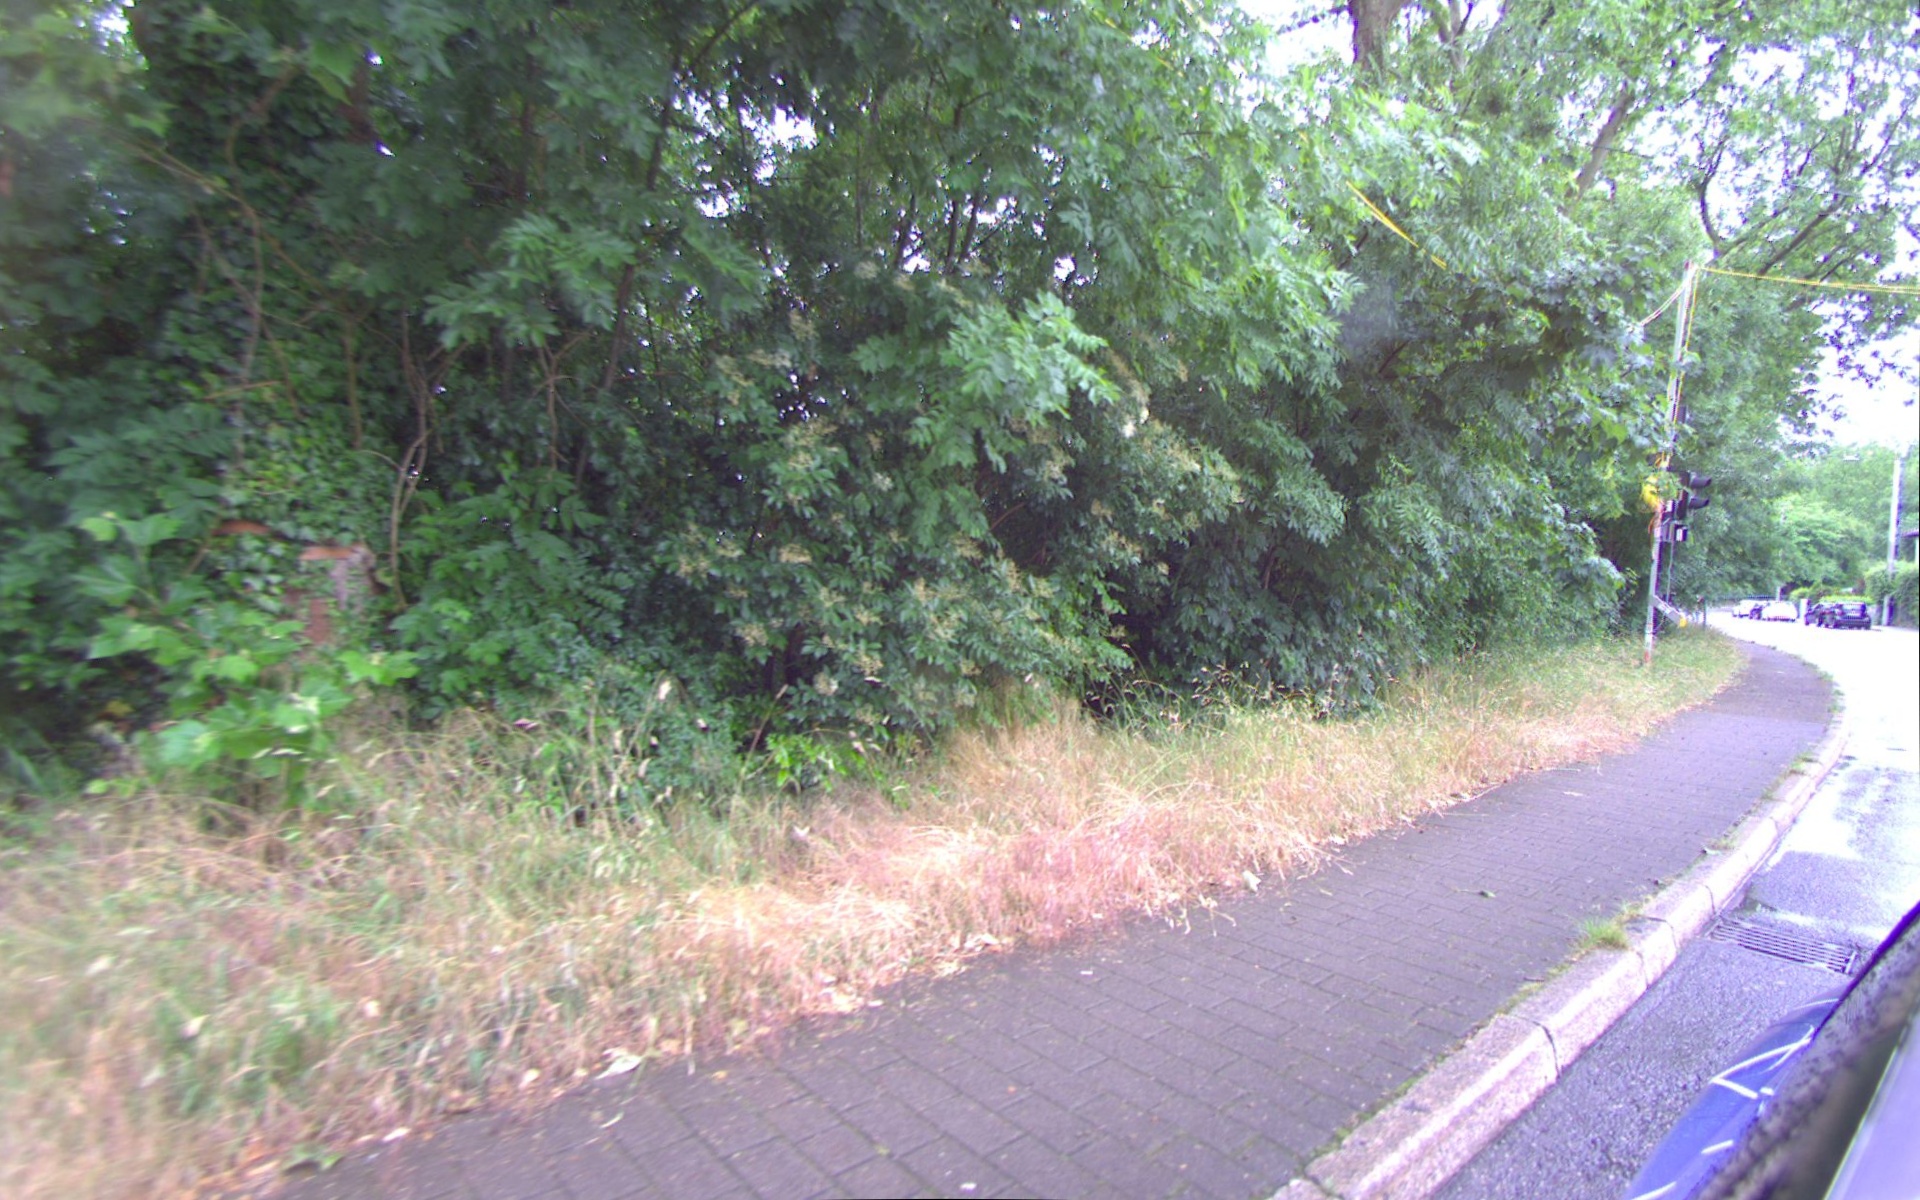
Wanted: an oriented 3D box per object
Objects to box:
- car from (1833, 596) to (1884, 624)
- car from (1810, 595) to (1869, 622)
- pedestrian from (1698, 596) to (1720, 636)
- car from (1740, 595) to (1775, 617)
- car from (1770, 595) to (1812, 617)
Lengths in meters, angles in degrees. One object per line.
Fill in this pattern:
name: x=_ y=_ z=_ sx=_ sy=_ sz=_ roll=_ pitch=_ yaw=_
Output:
car: x=50.750 y=0.531 z=57.220 sx=1.512 sy=1.472 sz=2.996 roll=3 pitch=2 yaw=31
car: x=52.801 y=0.492 z=60.815 sx=1.678 sy=1.435 sz=4.174 roll=3 pitch=2 yaw=28
pedestrian: x=32.068 y=0.681 z=43.321 sx=0.638 sy=1.631 sz=0.663 roll=2 pitch=2 yaw=30
car: x=65.030 y=0.459 z=82.541 sx=1.725 sy=1.439 sz=4.236 roll=-3 pitch=1 yaw=32
car: x=60.374 y=0.385 z=73.596 sx=1.688 sy=1.486 sz=3.674 roll=1 pitch=1 yaw=29
